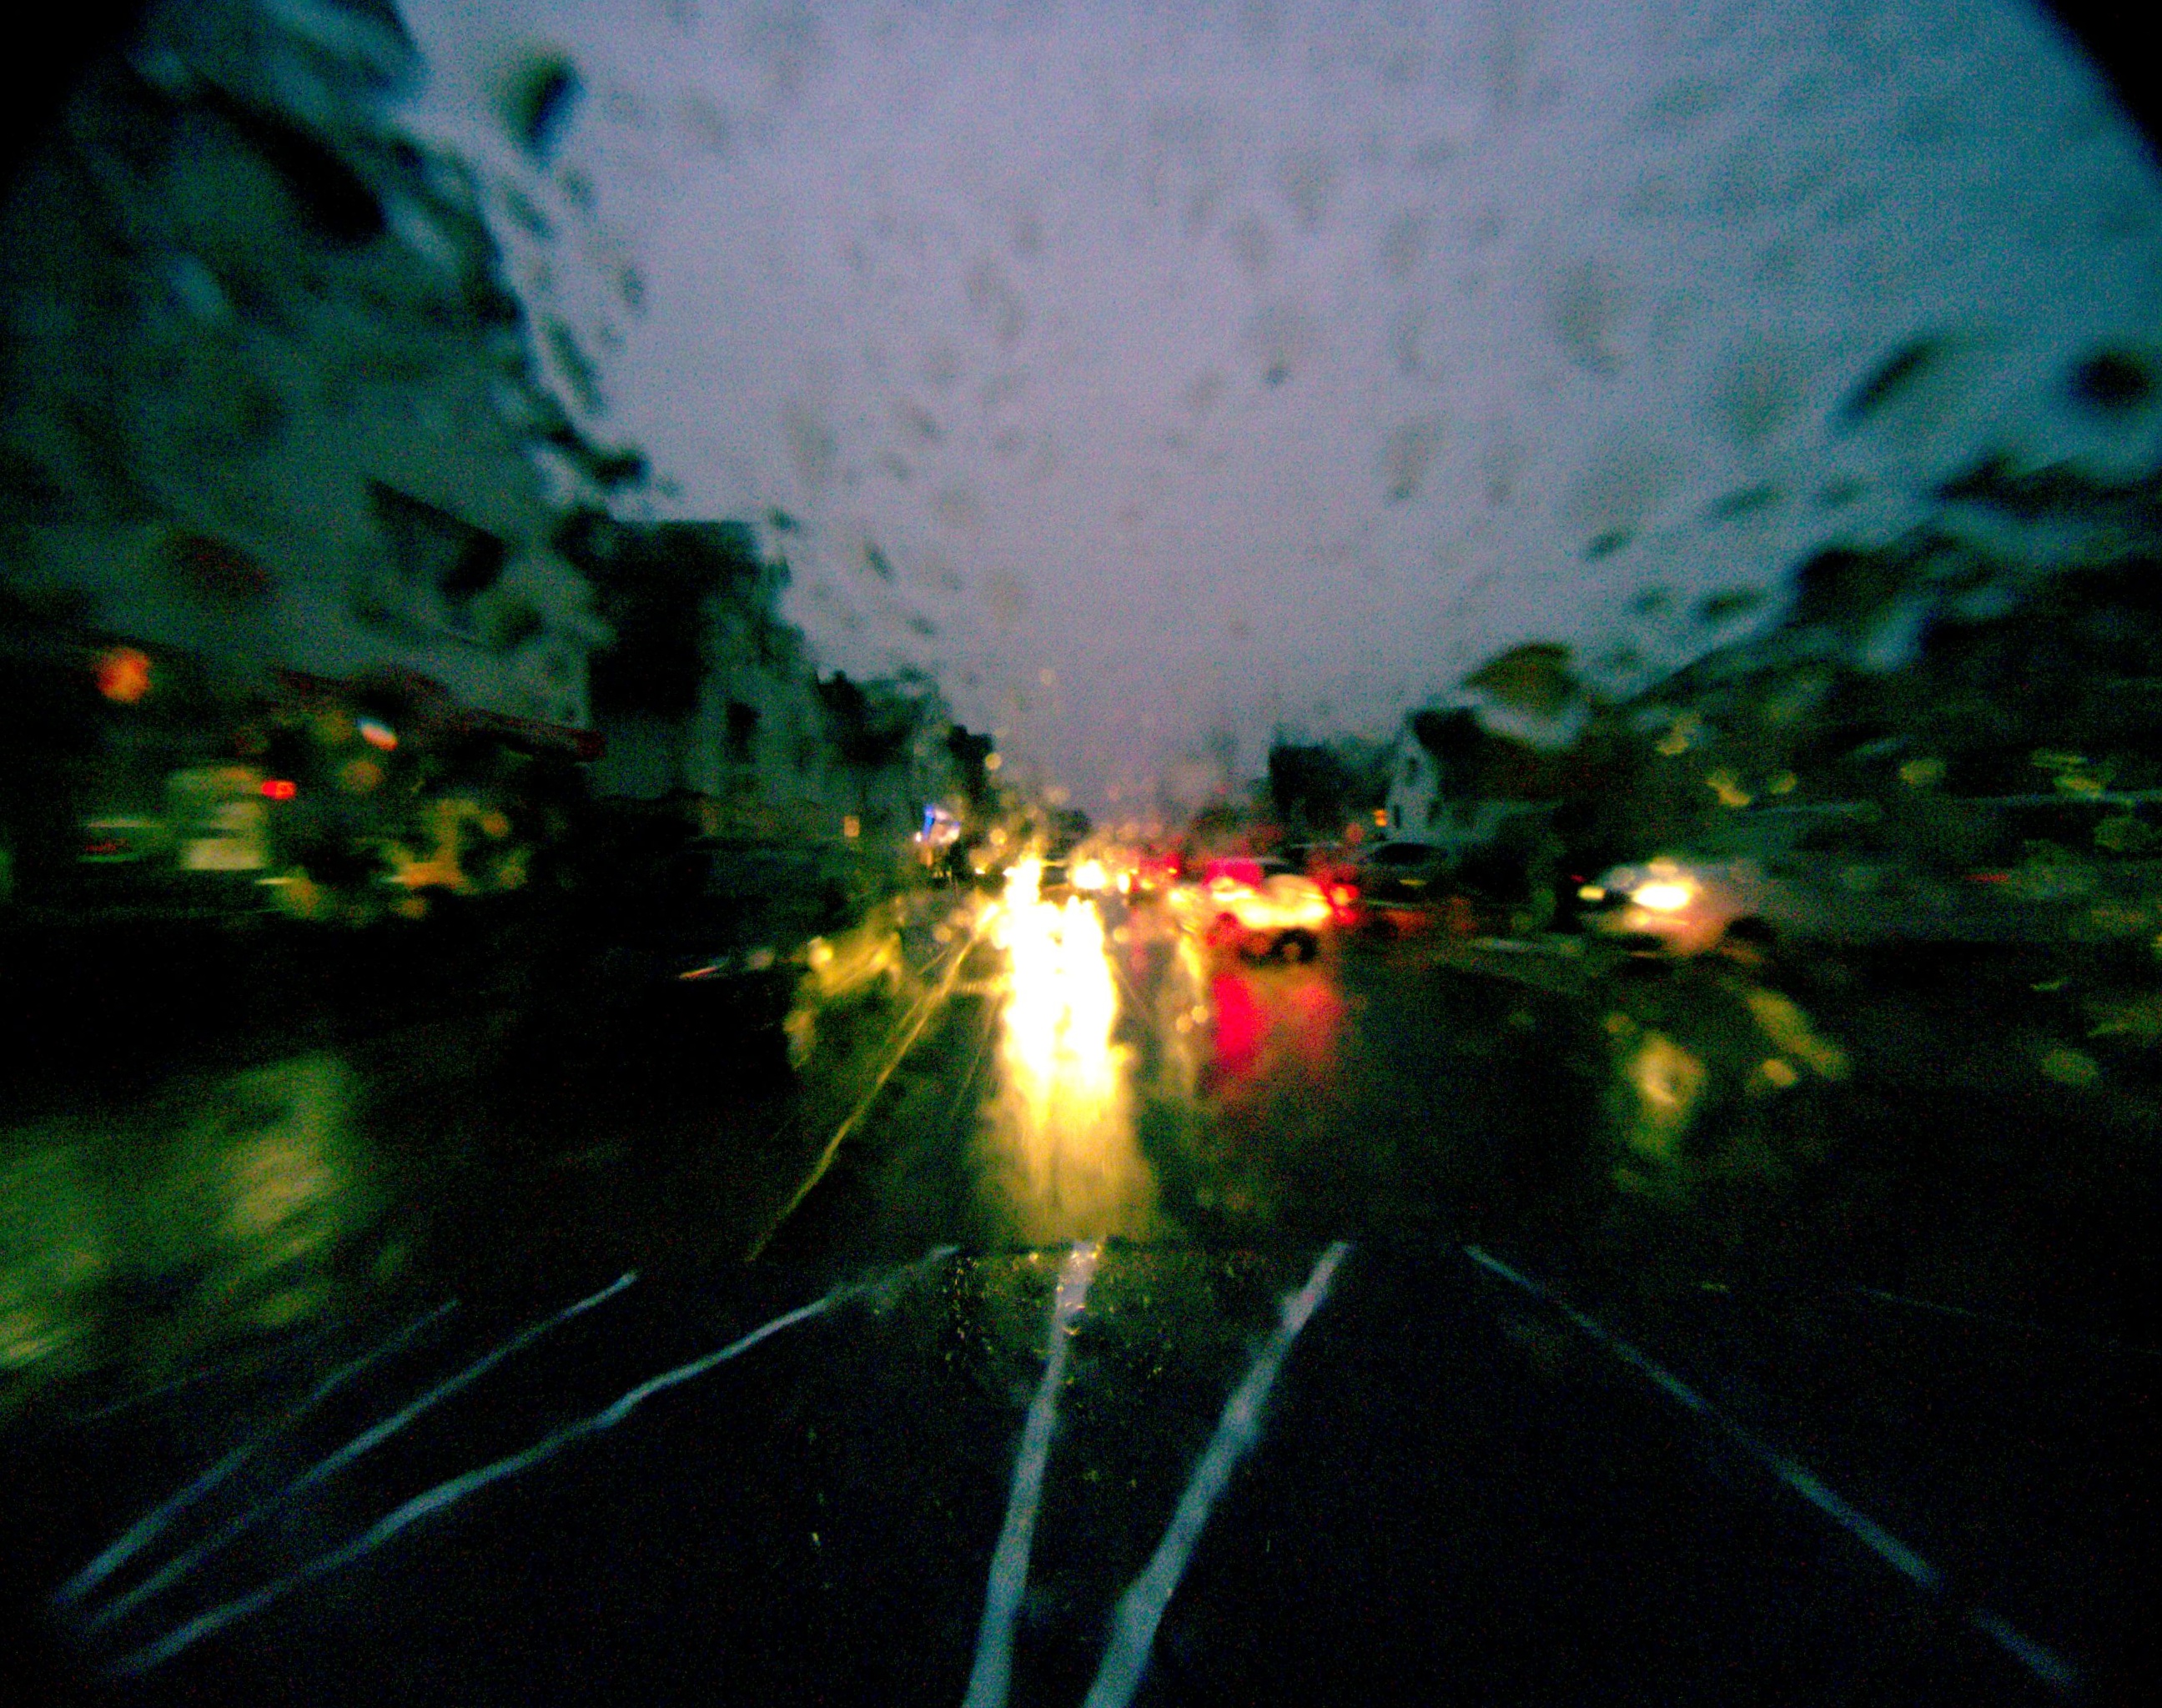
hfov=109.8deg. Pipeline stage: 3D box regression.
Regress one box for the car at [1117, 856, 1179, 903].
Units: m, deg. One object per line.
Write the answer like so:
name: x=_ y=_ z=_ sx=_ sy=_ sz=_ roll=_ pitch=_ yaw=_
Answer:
car: x=2.233 y=0.839 z=26.295 sx=1.624 sy=1.471 sz=3.838 roll=1 pitch=0 yaw=-2

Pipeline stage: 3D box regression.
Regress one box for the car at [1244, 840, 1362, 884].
car: x=9.261 y=0.340 z=31.945 sx=4.425 sy=1.790 sz=1.844 roll=0 pitch=0 yaw=-2

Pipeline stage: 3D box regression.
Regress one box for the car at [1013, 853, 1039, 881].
car: x=-4.074 y=0.955 z=56.476 sx=1.748 sy=2.001 sz=3.807 roll=2 pitch=-1 yaw=-2

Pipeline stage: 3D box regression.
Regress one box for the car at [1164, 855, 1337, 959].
car: x=2.734 y=0.779 z=13.362 sx=1.831 sy=1.509 sz=4.547 roll=0 pitch=0 yaw=-3

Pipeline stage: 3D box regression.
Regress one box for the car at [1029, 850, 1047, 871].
car: x=-4.144 y=0.638 z=73.492 sx=1.531 sy=2.002 sz=3.999 roll=0 pitch=0 yaw=-1

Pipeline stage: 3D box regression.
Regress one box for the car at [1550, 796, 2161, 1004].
car: x=8.790 y=0.475 z=8.401 sx=5.769 sy=1.934 sz=1.993 roll=-1 pitch=0 yaw=12

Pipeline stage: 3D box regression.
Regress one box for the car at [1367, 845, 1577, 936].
car: x=9.128 y=0.835 z=17.960 sx=4.039 sy=1.940 sz=1.749 roll=2 pitch=0 yaw=-2

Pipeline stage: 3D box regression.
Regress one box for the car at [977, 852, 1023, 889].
car: x=-4.060 y=0.790 z=38.633 sx=1.999 sy=1.774 sz=4.519 roll=0 pitch=0 yaw=-2

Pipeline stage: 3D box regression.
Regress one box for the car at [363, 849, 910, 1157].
car: x=-2.881 y=0.808 z=6.314 sx=1.979 sy=1.651 sz=4.459 roll=0 pitch=0 yaw=-1

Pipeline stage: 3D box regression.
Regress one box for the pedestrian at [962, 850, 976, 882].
pedestrian: x=-6.337 y=0.672 z=43.043 sx=0.649 sy=1.786 sz=0.508 roll=2 pitch=0 yaw=10

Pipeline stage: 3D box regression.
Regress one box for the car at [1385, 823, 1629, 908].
car: x=8.768 y=0.229 z=15.901 sx=3.998 sy=1.674 sz=2.000 roll=0 pitch=0 yaw=-2

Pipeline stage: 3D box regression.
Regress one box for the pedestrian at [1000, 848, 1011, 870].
pedestrian: x=-6.030 y=0.417 z=60.532 sx=0.819 sy=1.754 sz=1.060 roll=0 pitch=0 yaw=-2

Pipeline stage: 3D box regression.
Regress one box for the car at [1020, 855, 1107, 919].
car: x=-0.404 y=0.864 z=22.467 sx=2.270 sy=1.633 sz=5.065 roll=-1 pitch=0 yaw=1

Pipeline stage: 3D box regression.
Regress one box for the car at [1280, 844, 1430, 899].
car: x=9.525 y=0.594 z=26.650 sx=4.515 sy=1.855 sz=2.000 roll=0 pitch=0 yaw=-2

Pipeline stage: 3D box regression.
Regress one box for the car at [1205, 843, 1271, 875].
car: x=9.958 y=0.324 z=48.370 sx=3.805 sy=1.940 sz=1.749 roll=2 pitch=0 yaw=-2

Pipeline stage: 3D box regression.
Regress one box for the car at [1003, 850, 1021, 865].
car: x=-8.497 y=0.481 z=93.375 sx=1.782 sy=1.805 sz=3.996 roll=0 pitch=0 yaw=-10

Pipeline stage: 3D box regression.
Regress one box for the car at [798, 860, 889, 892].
car: x=-10.815 y=0.986 z=34.682 sx=3.555 sy=1.378 sz=1.662 roll=1 pitch=0 yaw=10

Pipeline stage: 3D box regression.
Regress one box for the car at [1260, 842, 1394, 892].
car: x=9.376 y=0.496 z=29.176 sx=4.515 sy=1.855 sz=1.868 roll=0 pitch=0 yaw=-2

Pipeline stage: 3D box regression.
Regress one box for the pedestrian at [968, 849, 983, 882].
pedestrian: x=-5.489 y=0.589 z=39.603 sx=0.650 sy=1.711 sz=0.468 roll=2 pitch=0 yaw=4

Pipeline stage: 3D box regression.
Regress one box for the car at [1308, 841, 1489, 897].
car: x=9.850 y=0.481 z=23.871 sx=4.877 sy=1.674 sz=2.000 roll=0 pitch=-1 yaw=0

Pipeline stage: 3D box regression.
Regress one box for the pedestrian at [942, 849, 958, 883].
pedestrian: x=-6.726 y=0.608 z=39.077 sx=0.609 sy=1.711 sz=0.651 roll=2 pitch=0 yaw=4

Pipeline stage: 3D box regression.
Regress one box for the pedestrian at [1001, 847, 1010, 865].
pedestrian: x=-6.639 y=0.199 z=66.809 sx=0.656 sy=1.596 sz=0.723 roll=0 pitch=0 yaw=1
